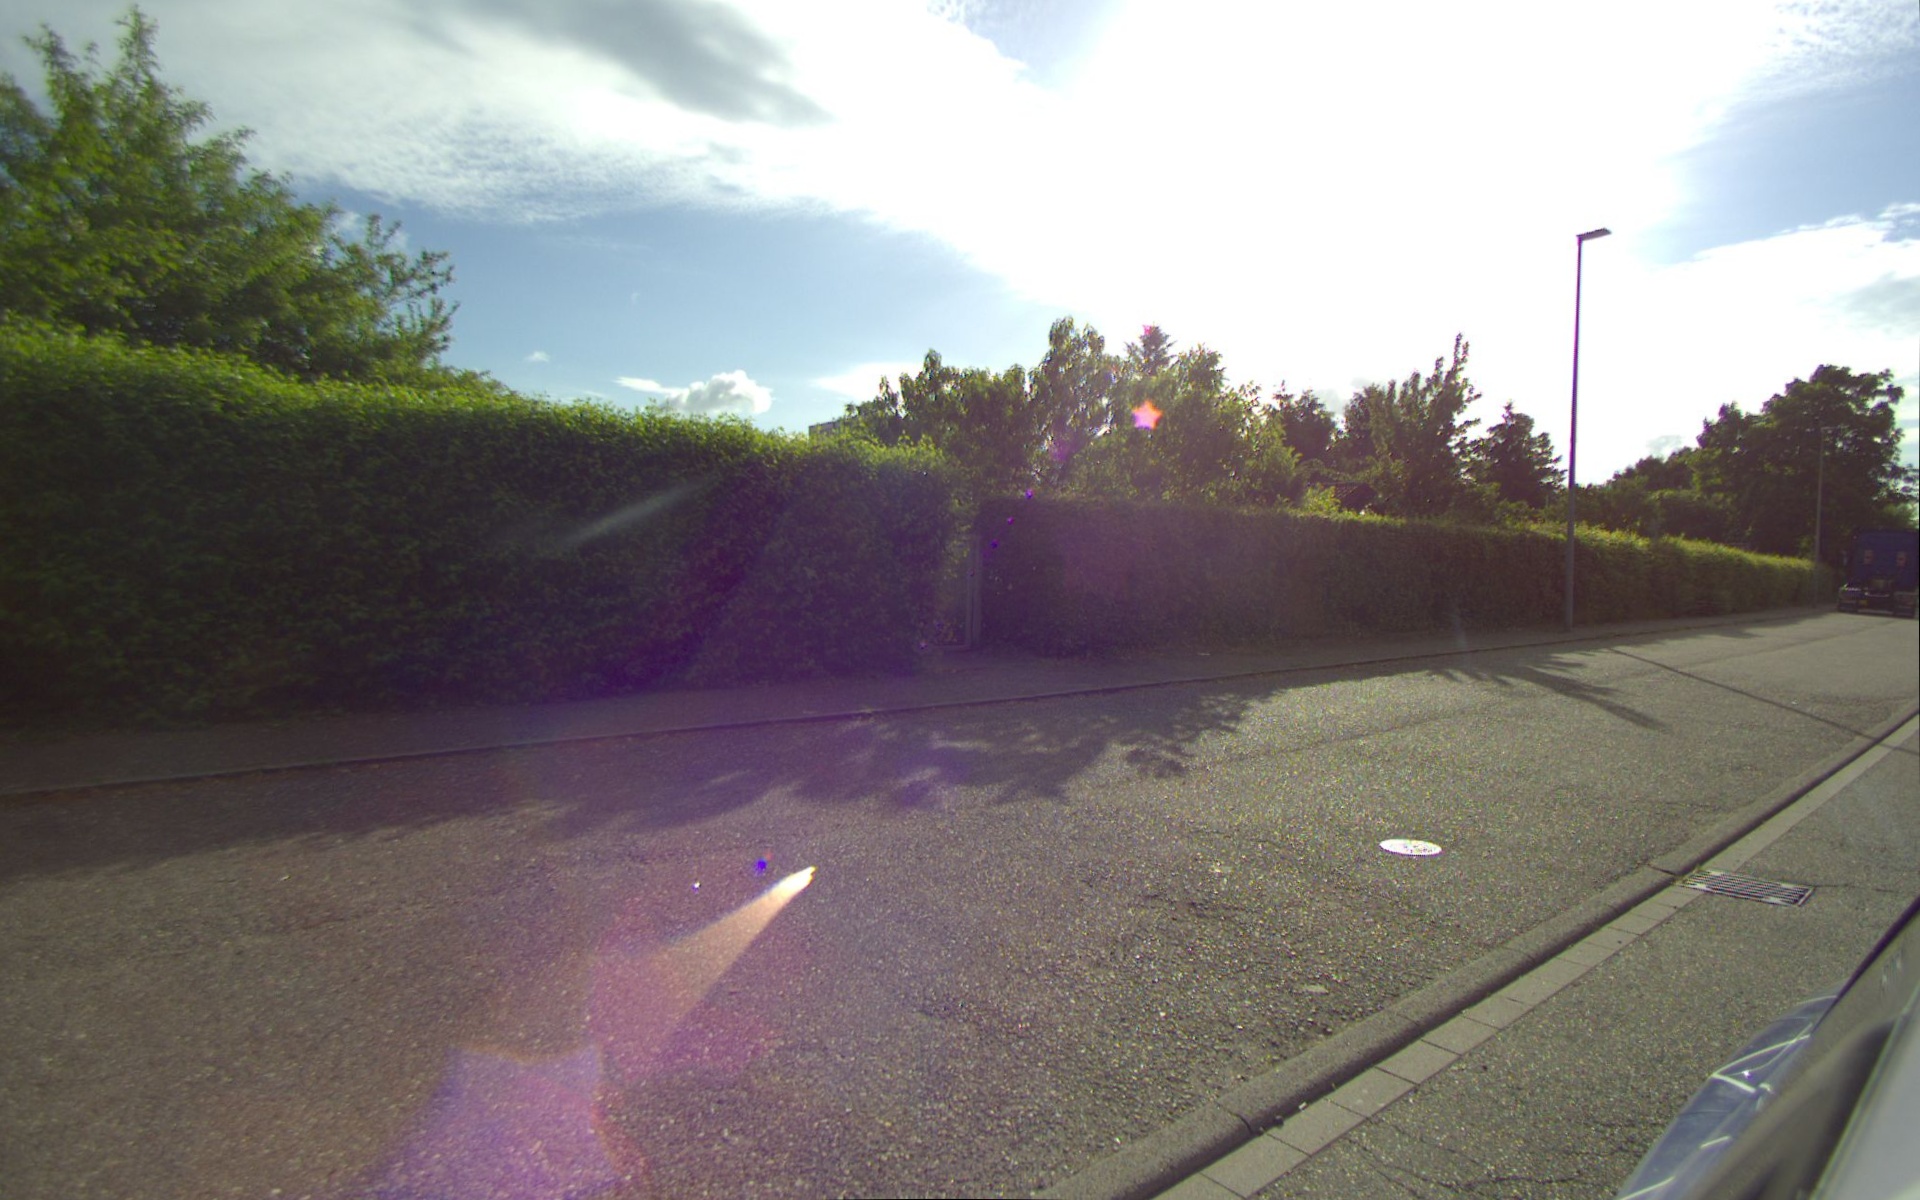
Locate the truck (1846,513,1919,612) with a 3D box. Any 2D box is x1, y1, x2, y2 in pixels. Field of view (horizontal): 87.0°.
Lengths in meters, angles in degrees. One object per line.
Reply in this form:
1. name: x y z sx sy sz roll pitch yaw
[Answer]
1. truck: 41.707 -1.623 45.195 2.598 4.004 6.184 8 6 44
